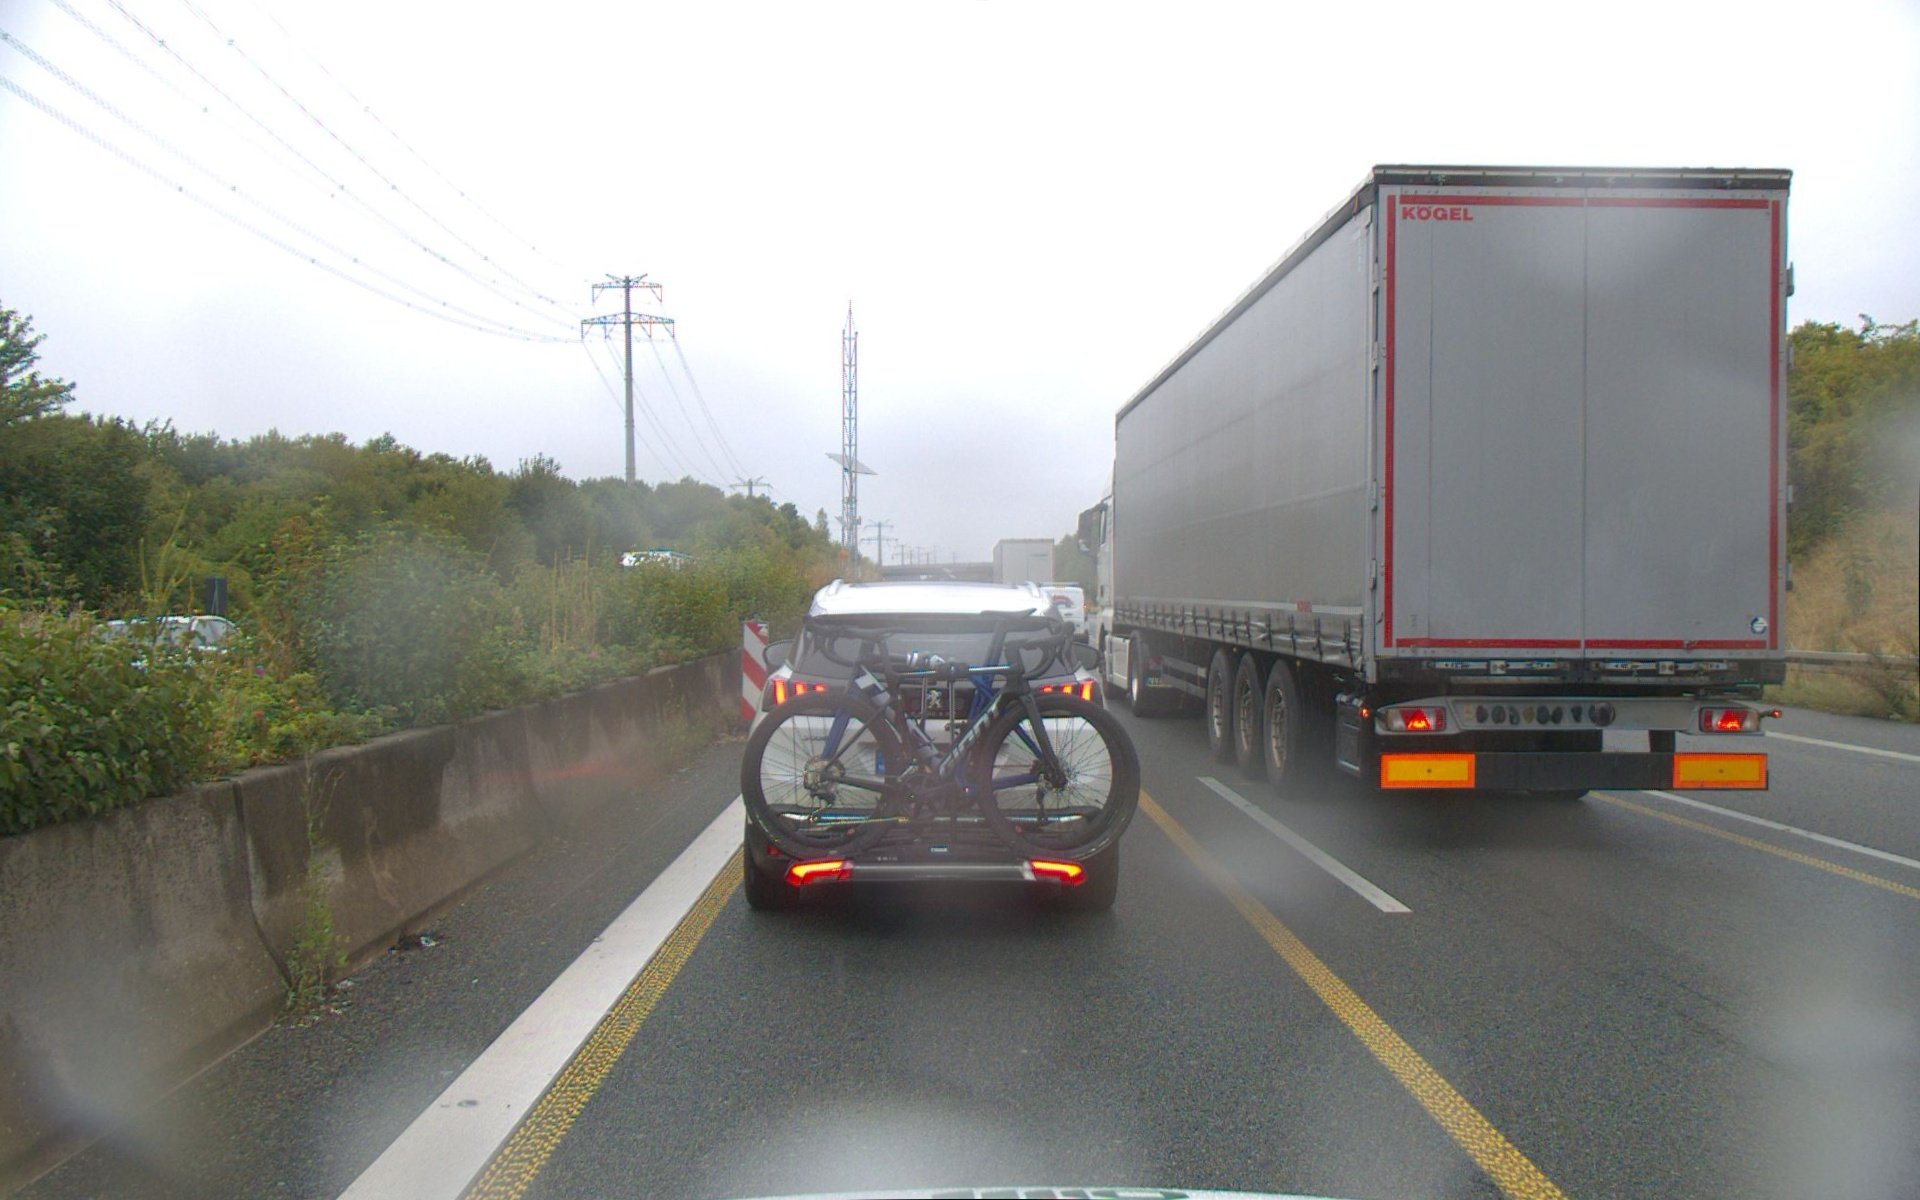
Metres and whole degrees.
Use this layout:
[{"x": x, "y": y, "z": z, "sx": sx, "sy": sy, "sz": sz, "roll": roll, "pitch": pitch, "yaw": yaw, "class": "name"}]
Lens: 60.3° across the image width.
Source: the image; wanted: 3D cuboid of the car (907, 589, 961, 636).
[{"x": -0.915, "y": 0.413, "z": 57.990, "sx": 1.812, "sy": 1.557, "sz": 3.999, "roll": 0, "pitch": 0, "yaw": -1, "class": "car"}]

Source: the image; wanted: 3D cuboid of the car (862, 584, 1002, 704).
[{"x": -0.397, "y": 0.564, "z": 23.479, "sx": 1.812, "sy": 1.557, "sz": 3.999, "roll": 0, "pitch": 0, "yaw": -1, "class": "car"}]

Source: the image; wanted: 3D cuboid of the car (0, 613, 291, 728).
[{"x": -9.934, "y": 0.788, "z": 20.176, "sx": 1.953, "sy": 1.212, "sz": 3.999, "roll": 0, "pitch": 0, "yaw": -1, "class": "car"}]

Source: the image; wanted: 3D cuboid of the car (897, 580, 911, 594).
[{"x": -8.235, "y": -1.878, "z": 244.041, "sx": 1.892, "sy": 2.008, "sz": 4.000, "roll": 0, "pitch": 1, "yaw": -1, "class": "car"}]

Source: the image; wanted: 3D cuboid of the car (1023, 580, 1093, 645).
[{"x": 2.924, "y": 0.344, "z": 50.252, "sx": 1.792, "sy": 1.871, "sz": 4.654, "roll": 0, "pitch": 0, "yaw": -1, "class": "car"}]

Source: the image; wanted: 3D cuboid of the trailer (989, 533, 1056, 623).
[{"x": 3.018, "y": -1.045, "z": 83.474, "sx": 2.638, "sy": 4.148, "sz": 13.631, "roll": 0, "pitch": 0, "yaw": -1, "class": "trailer"}]

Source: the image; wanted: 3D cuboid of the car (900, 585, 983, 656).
[{"x": -0.441, "y": 0.446, "z": 38.469, "sx": 1.812, "sy": 1.557, "sz": 3.999, "roll": 0, "pitch": 0, "yaw": -1, "class": "car"}]

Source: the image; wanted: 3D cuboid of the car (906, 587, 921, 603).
[{"x": -6.050, "y": -0.656, "z": 213.595, "sx": 1.892, "sy": 2.008, "sz": 4.000, "roll": 0, "pitch": 1, "yaw": -1, "class": "car"}]

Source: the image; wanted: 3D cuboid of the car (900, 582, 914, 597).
[{"x": -7.432, "y": -1.472, "z": 231.397, "sx": 1.892, "sy": 1.944, "sz": 4.000, "roll": 0, "pitch": 1, "yaw": -1, "class": "car"}]

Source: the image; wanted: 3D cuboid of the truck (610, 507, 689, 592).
[{"x": -16.064, "y": -2.523, "z": 86.053, "sx": 2.730, "sy": 4.093, "sz": 7.231, "roll": -3, "pitch": 0, "yaw": -2, "class": "truck"}]

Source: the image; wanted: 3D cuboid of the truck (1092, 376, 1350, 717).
[{"x": 3.467, "y": -0.675, "z": 23.318, "sx": 2.651, "sy": 4.211, "sz": 5.689, "roll": 0, "pitch": 0, "yaw": -1, "class": "truck"}]

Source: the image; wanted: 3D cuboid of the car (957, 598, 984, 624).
[{"x": 0.806, "y": 0.869, "z": 133.117, "sx": 2.067, "sy": 2.008, "sz": 4.000, "roll": 0, "pitch": 1, "yaw": -1, "class": "car"}]

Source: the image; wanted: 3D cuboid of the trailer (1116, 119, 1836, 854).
[{"x": 3.631, "y": -0.674, "z": 16.394, "sx": 2.651, "sy": 4.218, "sz": 13.729, "roll": 0, "pitch": 0, "yaw": -1, "class": "trailer"}]

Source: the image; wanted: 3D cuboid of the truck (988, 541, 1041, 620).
[{"x": 2.918, "y": -1.056, "z": 90.477, "sx": 2.606, "sy": 4.148, "sz": 6.538, "roll": 0, "pitch": 0, "yaw": -1, "class": "truck"}]

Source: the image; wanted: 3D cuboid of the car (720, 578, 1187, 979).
[{"x": -0.057, "y": 0.688, "z": 8.825, "sx": 1.812, "sy": 1.557, "sz": 4.768, "roll": 0, "pitch": 0, "yaw": -1, "class": "car"}]
